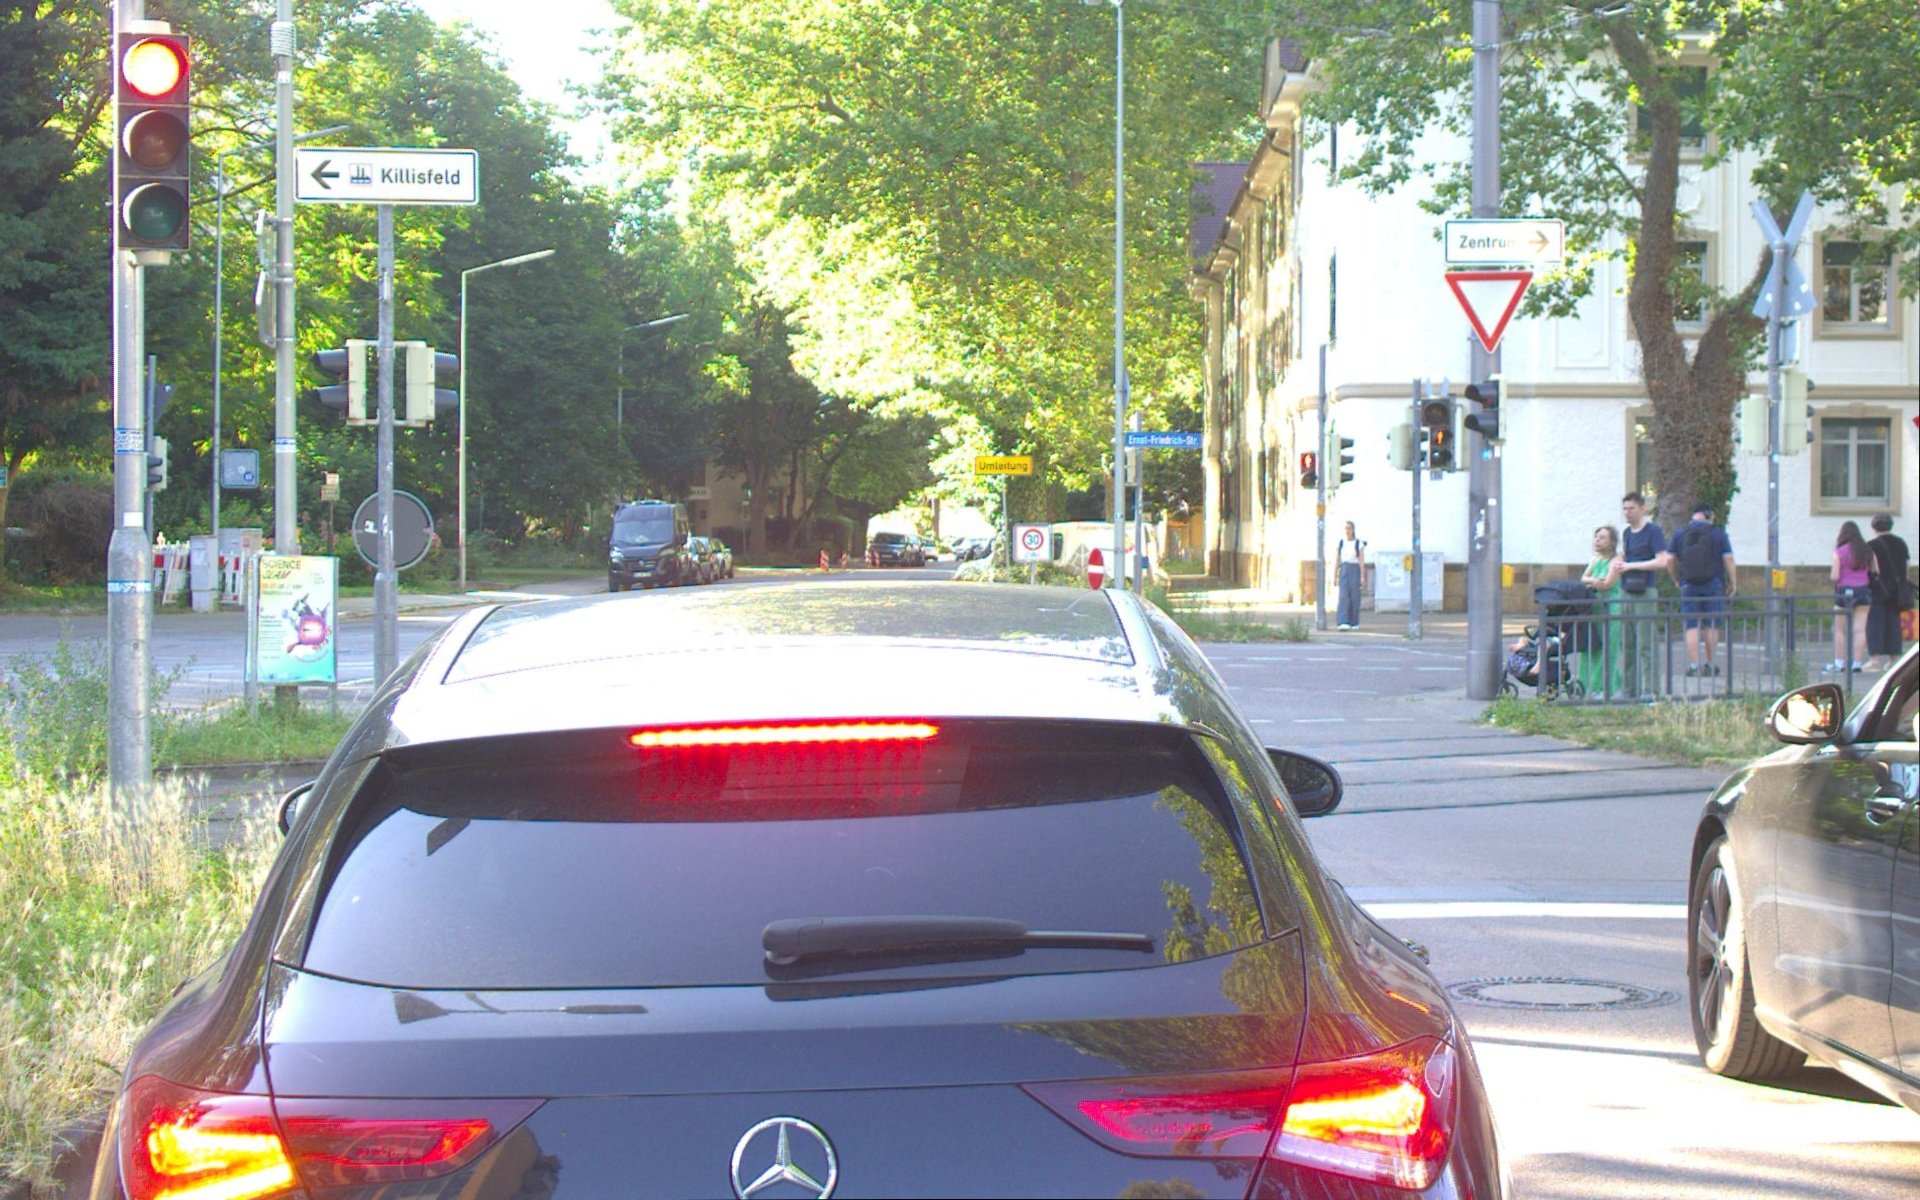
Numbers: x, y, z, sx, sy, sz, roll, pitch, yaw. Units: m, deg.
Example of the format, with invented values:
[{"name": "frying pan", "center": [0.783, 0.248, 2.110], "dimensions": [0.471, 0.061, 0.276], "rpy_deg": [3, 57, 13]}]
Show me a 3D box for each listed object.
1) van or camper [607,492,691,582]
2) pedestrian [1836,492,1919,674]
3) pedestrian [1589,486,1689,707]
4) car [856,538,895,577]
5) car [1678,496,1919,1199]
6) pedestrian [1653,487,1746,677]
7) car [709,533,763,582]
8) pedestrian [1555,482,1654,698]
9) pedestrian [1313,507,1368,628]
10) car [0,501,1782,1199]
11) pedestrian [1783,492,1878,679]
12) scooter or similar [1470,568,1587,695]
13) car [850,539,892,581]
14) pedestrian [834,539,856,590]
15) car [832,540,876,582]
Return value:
[{"name": "van or camper", "center": [-8.990, -1.805, 99.744], "dimensions": [1.993, 2.532, 4.651], "rpy_deg": [1, 1, 0]}, {"name": "pedestrian", "center": [9.837, -0.179, 36.676], "dimensions": [0.705, 1.911, 0.839], "rpy_deg": [1, 0, -4]}, {"name": "pedestrian", "center": [5.946, -0.033, 30.125], "dimensions": [0.682, 1.911, 0.707], "rpy_deg": [1, 0, -2]}, {"name": "car", "center": [-3.896, -1.972, 158.472], "dimensions": [1.733, 1.759, 4.019], "rpy_deg": [1, 1, -1]}, {"name": "car", "center": [2.909, 0.585, 7.332], "dimensions": [1.889, 1.485, 4.382], "rpy_deg": [1, 3, 1]}, {"name": "pedestrian", "center": [7.571, -0.185, 35.227], "dimensions": [0.705, 1.911, 0.839], "rpy_deg": [1, 0, -4]}, {"name": "car", "center": [-8.223, -1.567, 126.409], "dimensions": [1.733, 1.759, 3.971], "rpy_deg": [1, 1, -1]}, {"name": "pedestrian", "center": [5.788, -0.096, 30.897], "dimensions": [0.682, 1.911, 0.707], "rpy_deg": [1, 0, -4]}, {"name": "pedestrian", "center": [6.083, -0.527, 55.035], "dimensions": [0.705, 1.911, 0.839], "rpy_deg": [1, 0, -4]}, {"name": "car", "center": [-0.126, 0.629, 5.398], "dimensions": [1.889, 1.445, 4.001], "rpy_deg": [1, 3, 1]}, {"name": "pedestrian", "center": [9.026, -0.150, 35.676], "dimensions": [0.705, 1.911, 0.839], "rpy_deg": [1, 0, -4]}, {"name": "scooter or similar", "center": [5.032, 0.276, 30.478], "dimensions": [0.828, 1.101, 0.809], "rpy_deg": [1, 0, -6]}, {"name": "car", "center": [-3.874, -1.749, 150.389], "dimensions": [1.733, 1.759, 4.019], "rpy_deg": [1, 1, -1]}, {"name": "pedestrian", "center": [-4.362, -1.326, 130.033], "dimensions": [0.705, 1.911, 0.839], "rpy_deg": [1, 0, -10]}, {"name": "car", "center": [-4.477, -1.648, 145.522], "dimensions": [1.733, 1.759, 4.019], "rpy_deg": [1, 1, -1]}]
